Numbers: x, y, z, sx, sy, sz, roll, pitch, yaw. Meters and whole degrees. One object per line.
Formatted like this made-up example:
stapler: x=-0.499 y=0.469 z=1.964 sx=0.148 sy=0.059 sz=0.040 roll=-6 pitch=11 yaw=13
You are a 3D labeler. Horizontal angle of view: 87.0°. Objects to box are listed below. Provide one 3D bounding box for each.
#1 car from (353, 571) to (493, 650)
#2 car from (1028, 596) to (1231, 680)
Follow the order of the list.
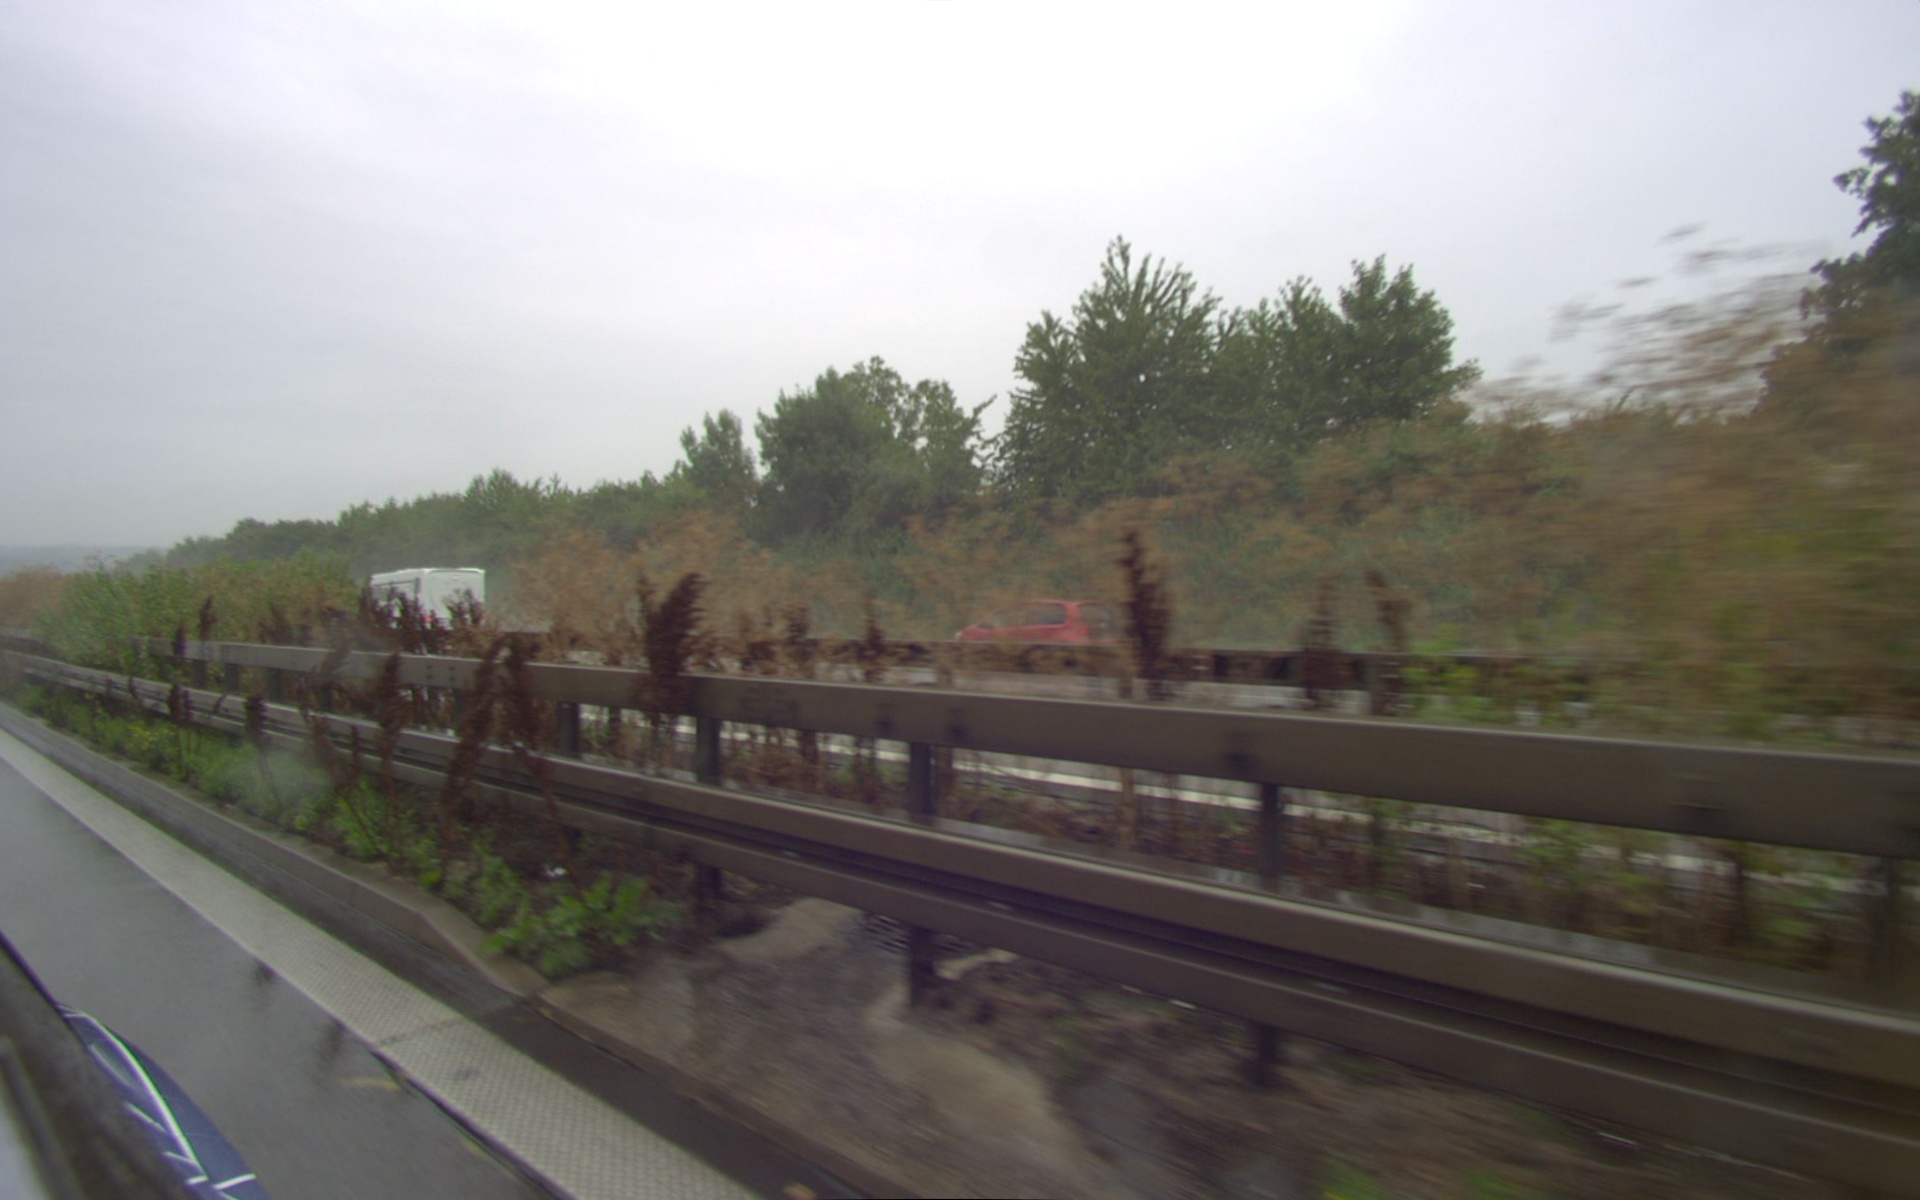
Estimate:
car: x=-21.394 y=0.433 z=40.110 sx=7.424 sy=2.846 sz=2.520 roll=-2 pitch=0 yaw=42
car: x=3.053 y=0.659 z=18.544 sx=3.364 sy=1.375 sz=1.503 roll=-1 pitch=0 yaw=41
